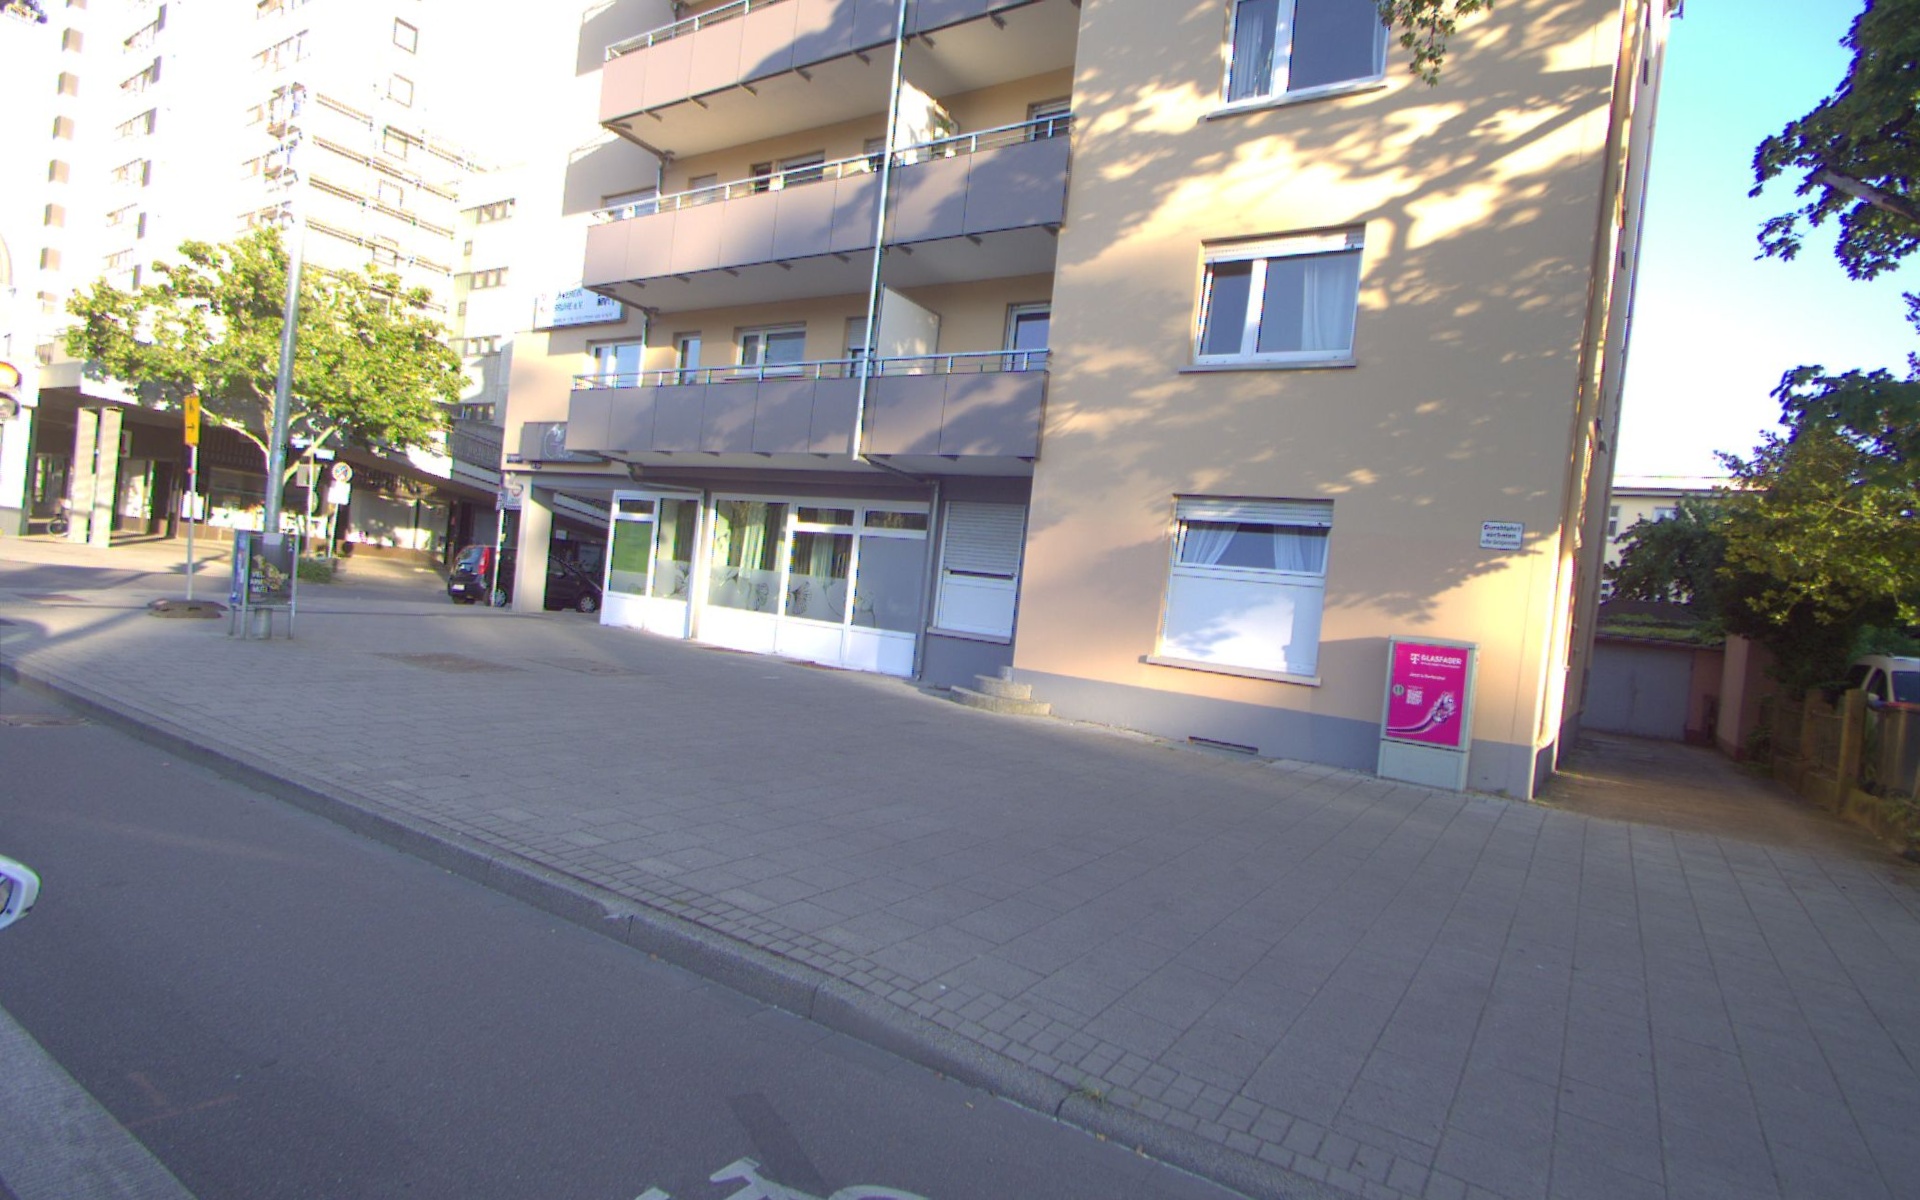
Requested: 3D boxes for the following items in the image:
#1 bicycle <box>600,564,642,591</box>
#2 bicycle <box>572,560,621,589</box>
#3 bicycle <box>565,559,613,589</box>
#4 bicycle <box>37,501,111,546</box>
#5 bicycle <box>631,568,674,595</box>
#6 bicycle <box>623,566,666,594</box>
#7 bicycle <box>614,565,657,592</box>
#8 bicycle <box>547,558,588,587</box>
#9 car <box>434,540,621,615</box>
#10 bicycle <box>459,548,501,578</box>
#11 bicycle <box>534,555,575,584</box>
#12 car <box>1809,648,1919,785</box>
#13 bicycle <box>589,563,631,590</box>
[{"bbox_3d":[-15.972,-1.065,47.400,1.943,1.086,0.582,6,-3,29],"label":"bicycle"},{"bbox_3d":[-16.820,-1.171,46.550,1.939,1.086,0.584,7,-2,9],"label":"bicycle"},{"bbox_3d":[-17.011,-1.201,46.107,1.939,1.087,0.584,7,-2,13],"label":"bicycle"},{"bbox_3d":[-28.981,-2.506,32.915,1.984,1.162,0.692,7,-2,14],"label":"bicycle"},{"bbox_3d":[-14.973,-0.885,48.941,1.941,1.087,0.583,6,-2,21],"label":"bicycle"},{"bbox_3d":[-15.151,-0.960,48.320,1.941,1.087,0.583,6,-2,21],"label":"bicycle"},{"bbox_3d":[-15.398,-1.019,47.753,1.942,1.087,0.583,6,-3,26],"label":"bicycle"},{"bbox_3d":[-17.392,-1.236,44.553,1.946,1.086,0.581,5,-3,35],"label":"bicycle"},{"bbox_3d":[-10.884,-0.528,25.559,1.680,1.605,4.037,3,-1,36],"label":"car"},{"bbox_3d":[-20.201,-1.567,42.338,1.946,1.086,0.581,5,-3,35],"label":"bicycle"},{"bbox_3d":[-17.807,-1.329,44.165,1.946,1.086,0.581,5,-3,35],"label":"bicycle"},{"bbox_3d":[14.574,1.740,14.973,1.794,1.780,4.513,8,2,27],"label":"car"},{"bbox_3d":[-16.337,-1.100,46.962,1.943,1.086,0.582,6,-3,29],"label":"bicycle"}]
